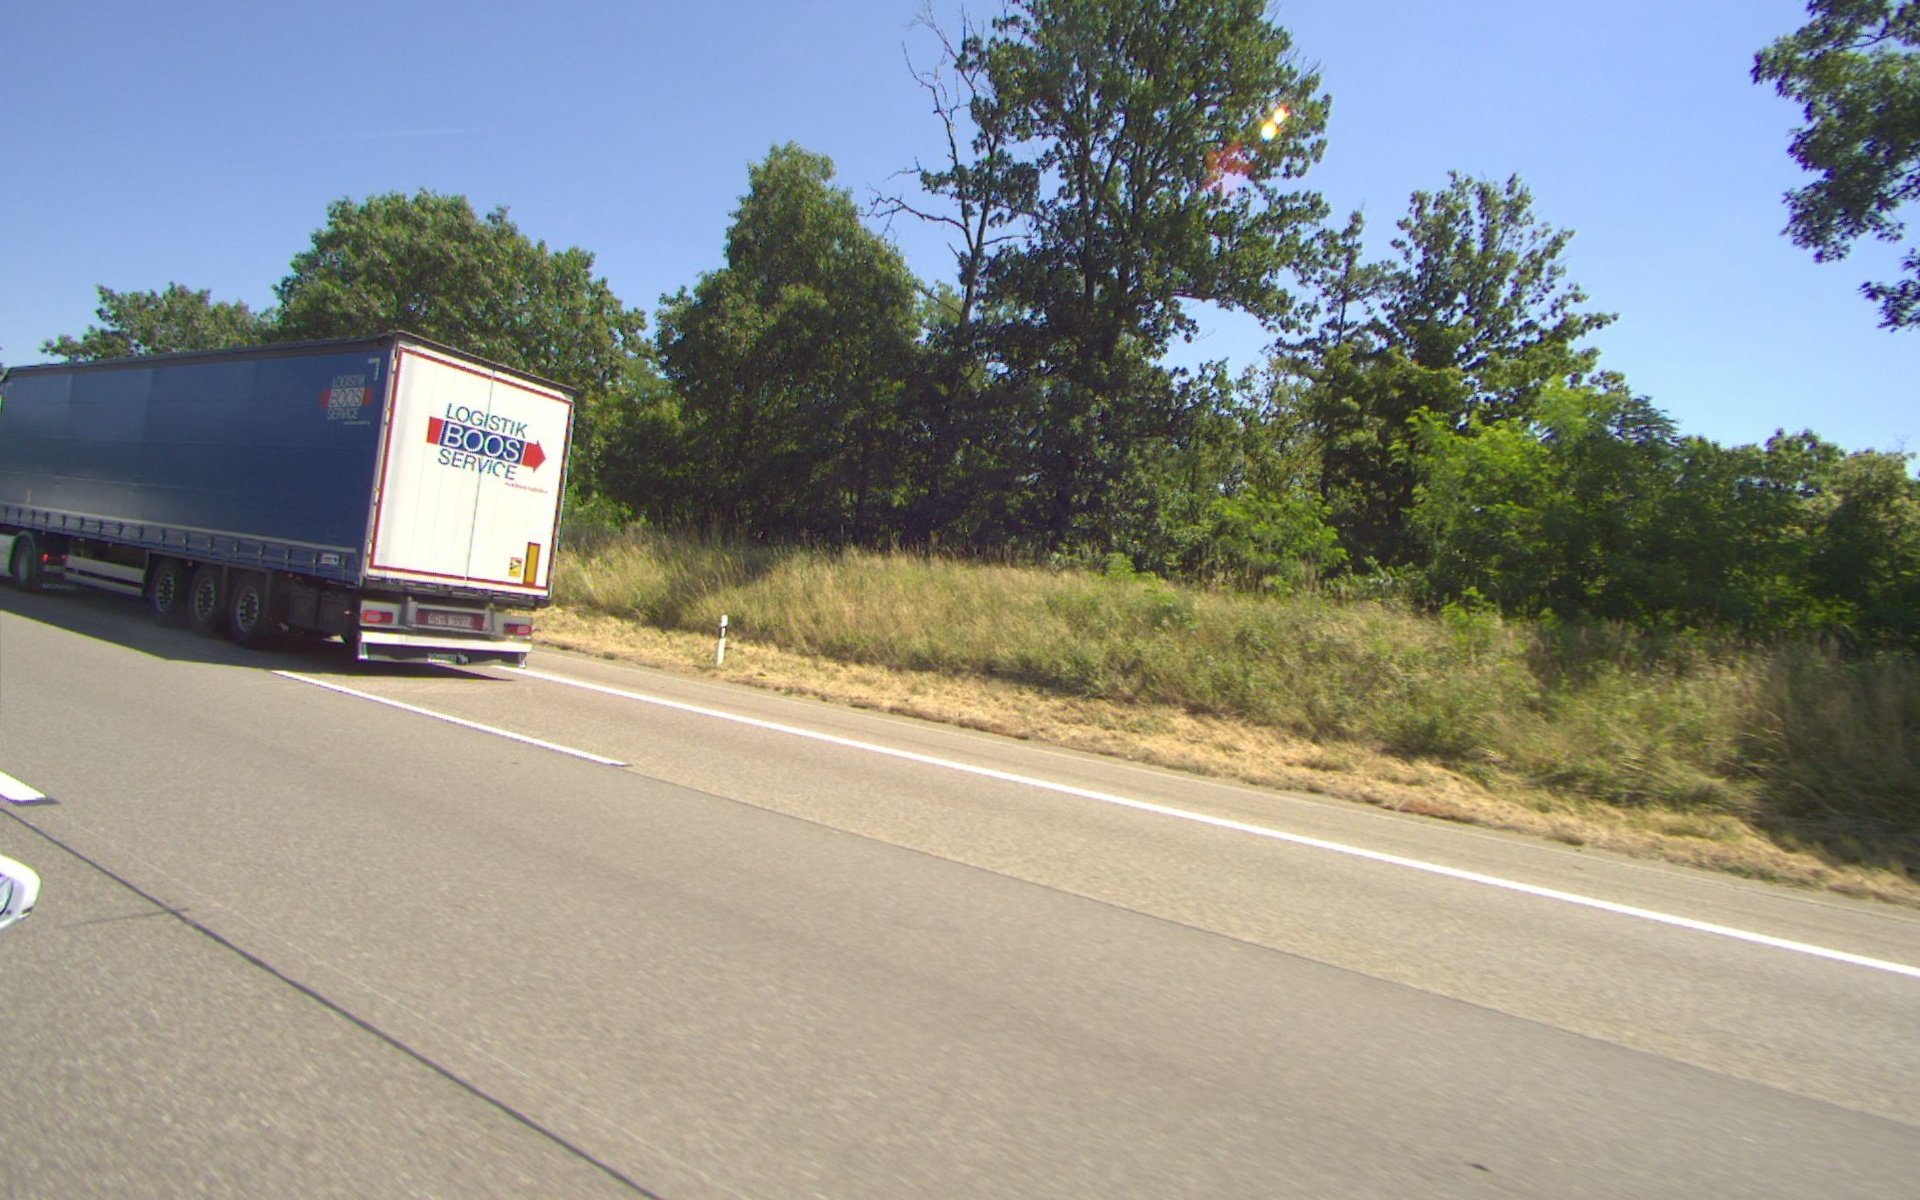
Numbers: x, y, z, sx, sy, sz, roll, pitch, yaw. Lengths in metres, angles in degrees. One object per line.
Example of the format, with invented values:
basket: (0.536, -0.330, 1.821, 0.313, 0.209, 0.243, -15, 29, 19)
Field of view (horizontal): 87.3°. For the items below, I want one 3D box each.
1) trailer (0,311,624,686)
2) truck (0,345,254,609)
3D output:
trailer: (-11.575, -1.672, 16.506, 13.339, 4.268, 3.292, 6, -2, 31)
truck: (-17.749, -2.383, 20.278, 5.907, 4.268, 3.292, 6, -2, 31)
